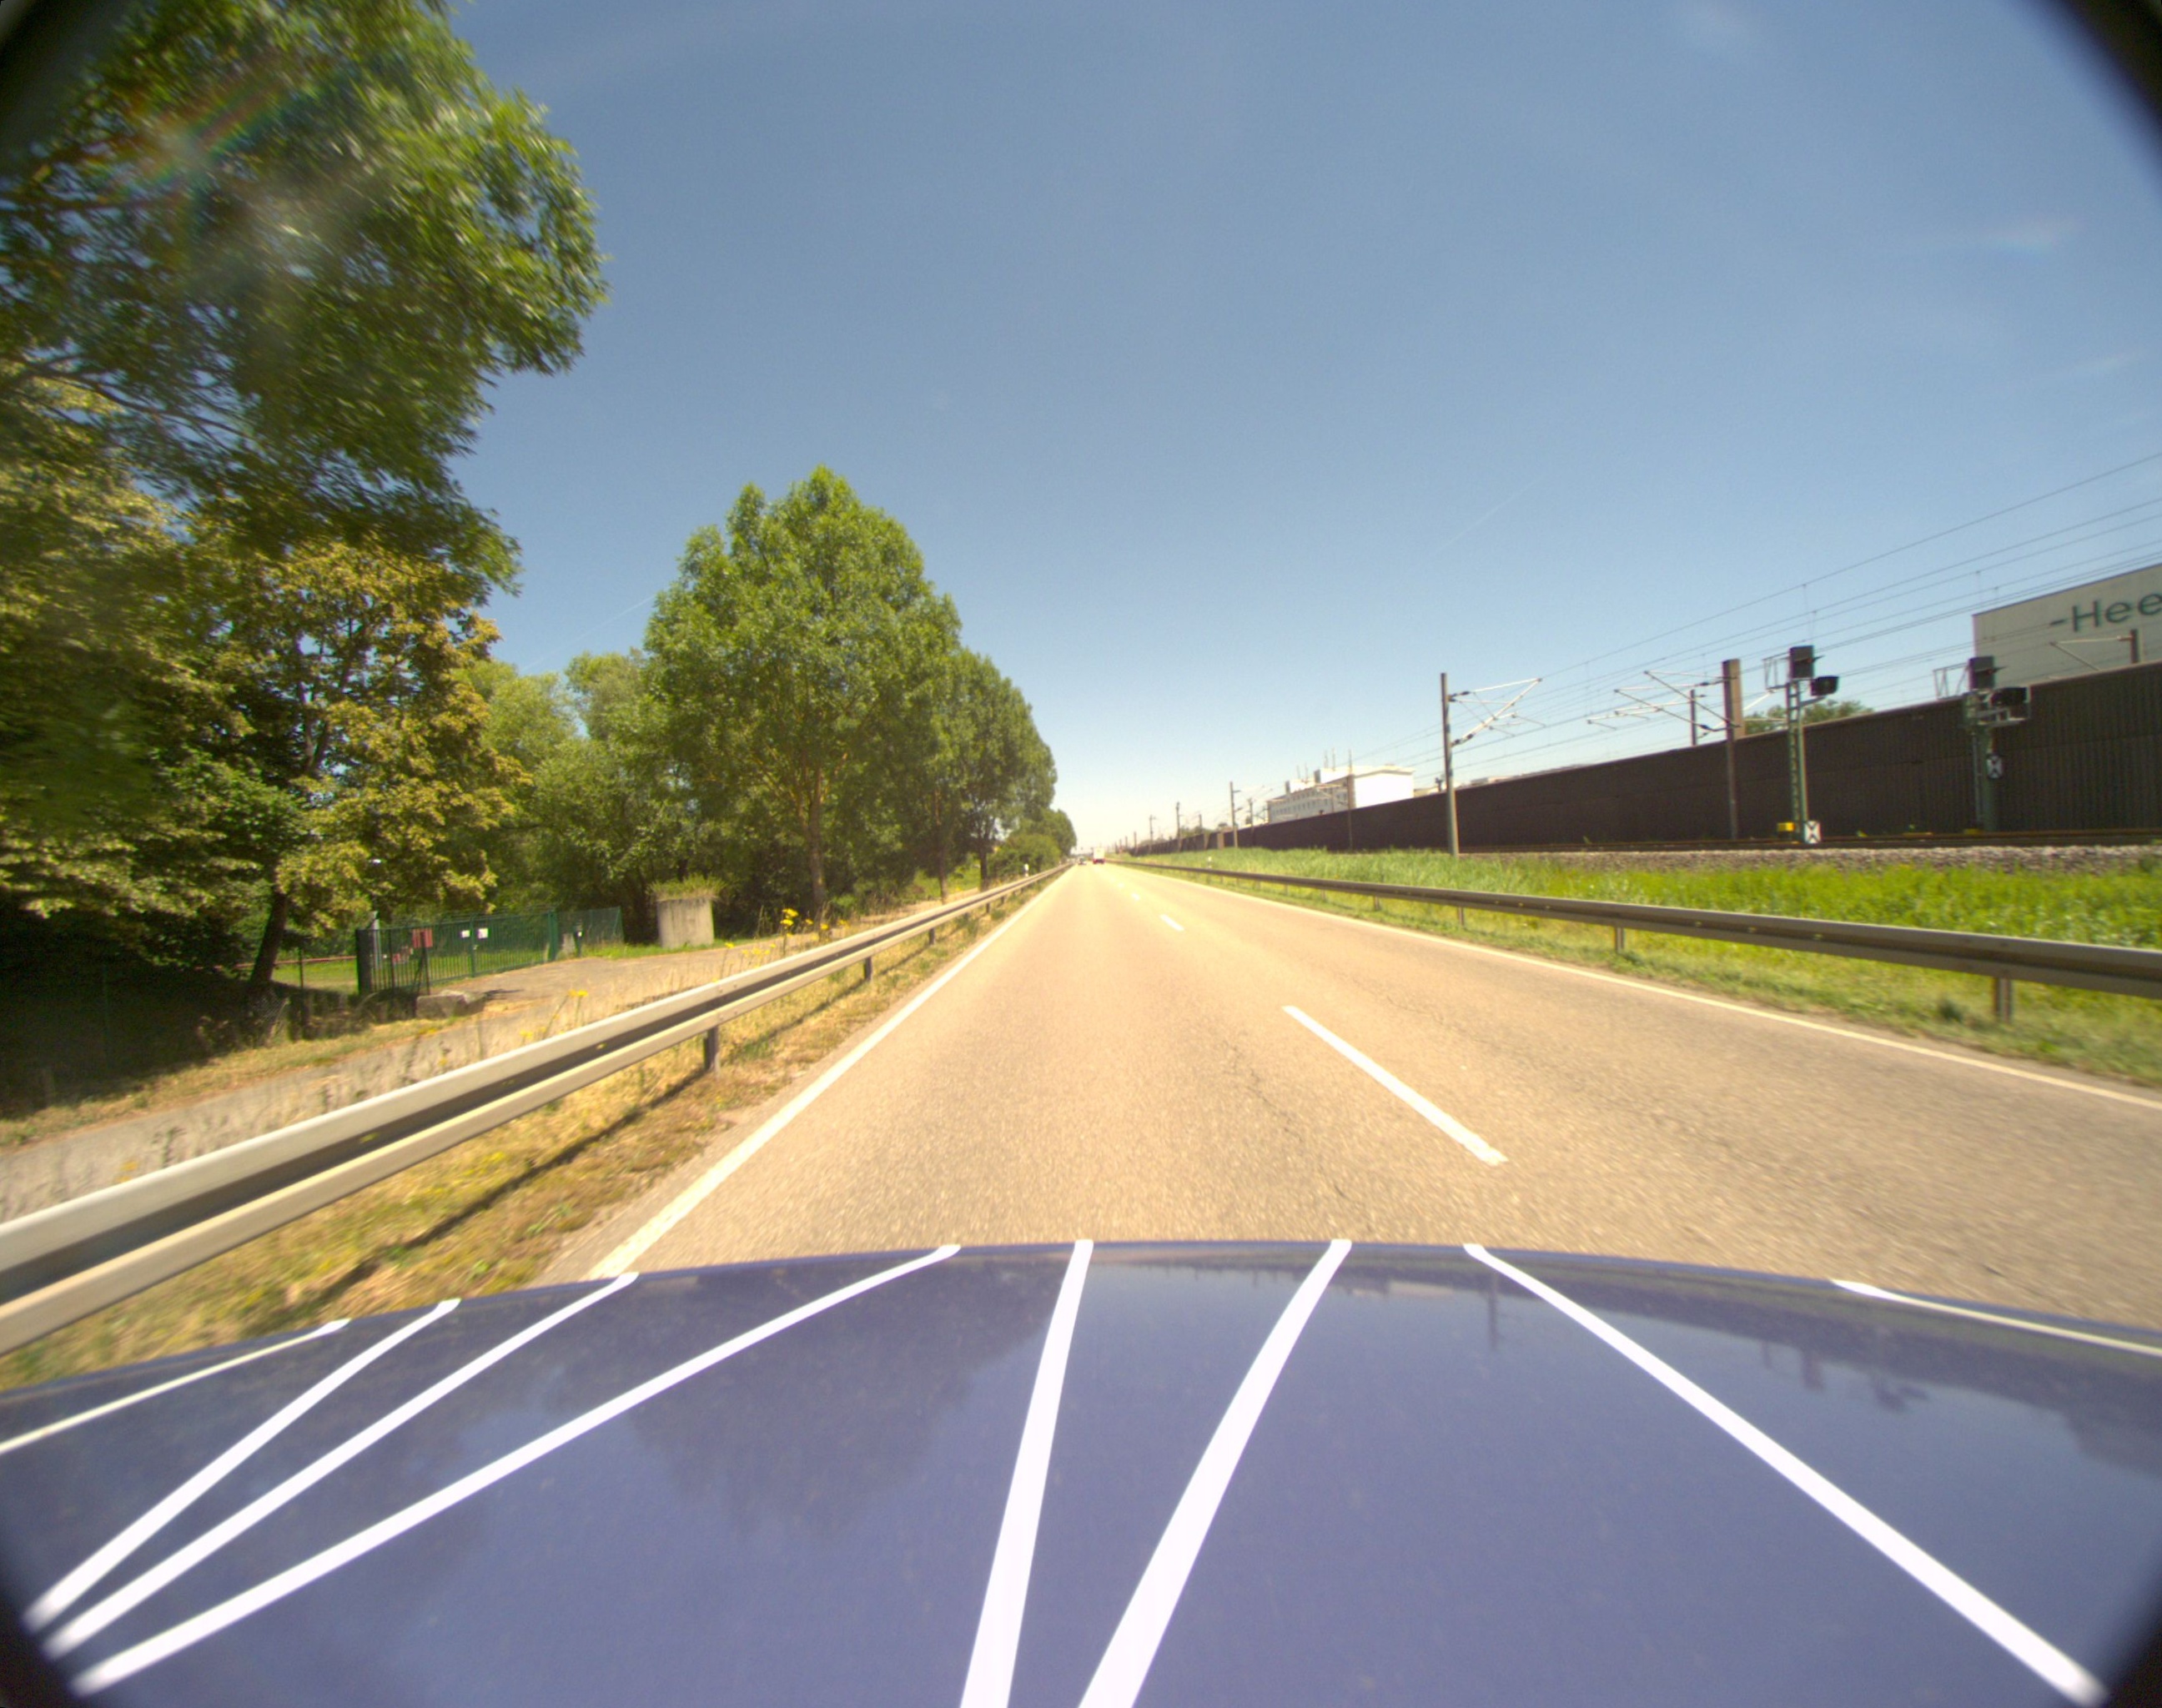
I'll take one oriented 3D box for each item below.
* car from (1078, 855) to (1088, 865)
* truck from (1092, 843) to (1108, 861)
[{"bbox_3d":[0.445,1.350,166.575,1.999,2.002,3.999,-2,0,-1],"label":"car"},{"bbox_3d":[4.443,-0.497,182.962,2.805,3.954,10.497,-5,0,-2],"label":"truck"}]
